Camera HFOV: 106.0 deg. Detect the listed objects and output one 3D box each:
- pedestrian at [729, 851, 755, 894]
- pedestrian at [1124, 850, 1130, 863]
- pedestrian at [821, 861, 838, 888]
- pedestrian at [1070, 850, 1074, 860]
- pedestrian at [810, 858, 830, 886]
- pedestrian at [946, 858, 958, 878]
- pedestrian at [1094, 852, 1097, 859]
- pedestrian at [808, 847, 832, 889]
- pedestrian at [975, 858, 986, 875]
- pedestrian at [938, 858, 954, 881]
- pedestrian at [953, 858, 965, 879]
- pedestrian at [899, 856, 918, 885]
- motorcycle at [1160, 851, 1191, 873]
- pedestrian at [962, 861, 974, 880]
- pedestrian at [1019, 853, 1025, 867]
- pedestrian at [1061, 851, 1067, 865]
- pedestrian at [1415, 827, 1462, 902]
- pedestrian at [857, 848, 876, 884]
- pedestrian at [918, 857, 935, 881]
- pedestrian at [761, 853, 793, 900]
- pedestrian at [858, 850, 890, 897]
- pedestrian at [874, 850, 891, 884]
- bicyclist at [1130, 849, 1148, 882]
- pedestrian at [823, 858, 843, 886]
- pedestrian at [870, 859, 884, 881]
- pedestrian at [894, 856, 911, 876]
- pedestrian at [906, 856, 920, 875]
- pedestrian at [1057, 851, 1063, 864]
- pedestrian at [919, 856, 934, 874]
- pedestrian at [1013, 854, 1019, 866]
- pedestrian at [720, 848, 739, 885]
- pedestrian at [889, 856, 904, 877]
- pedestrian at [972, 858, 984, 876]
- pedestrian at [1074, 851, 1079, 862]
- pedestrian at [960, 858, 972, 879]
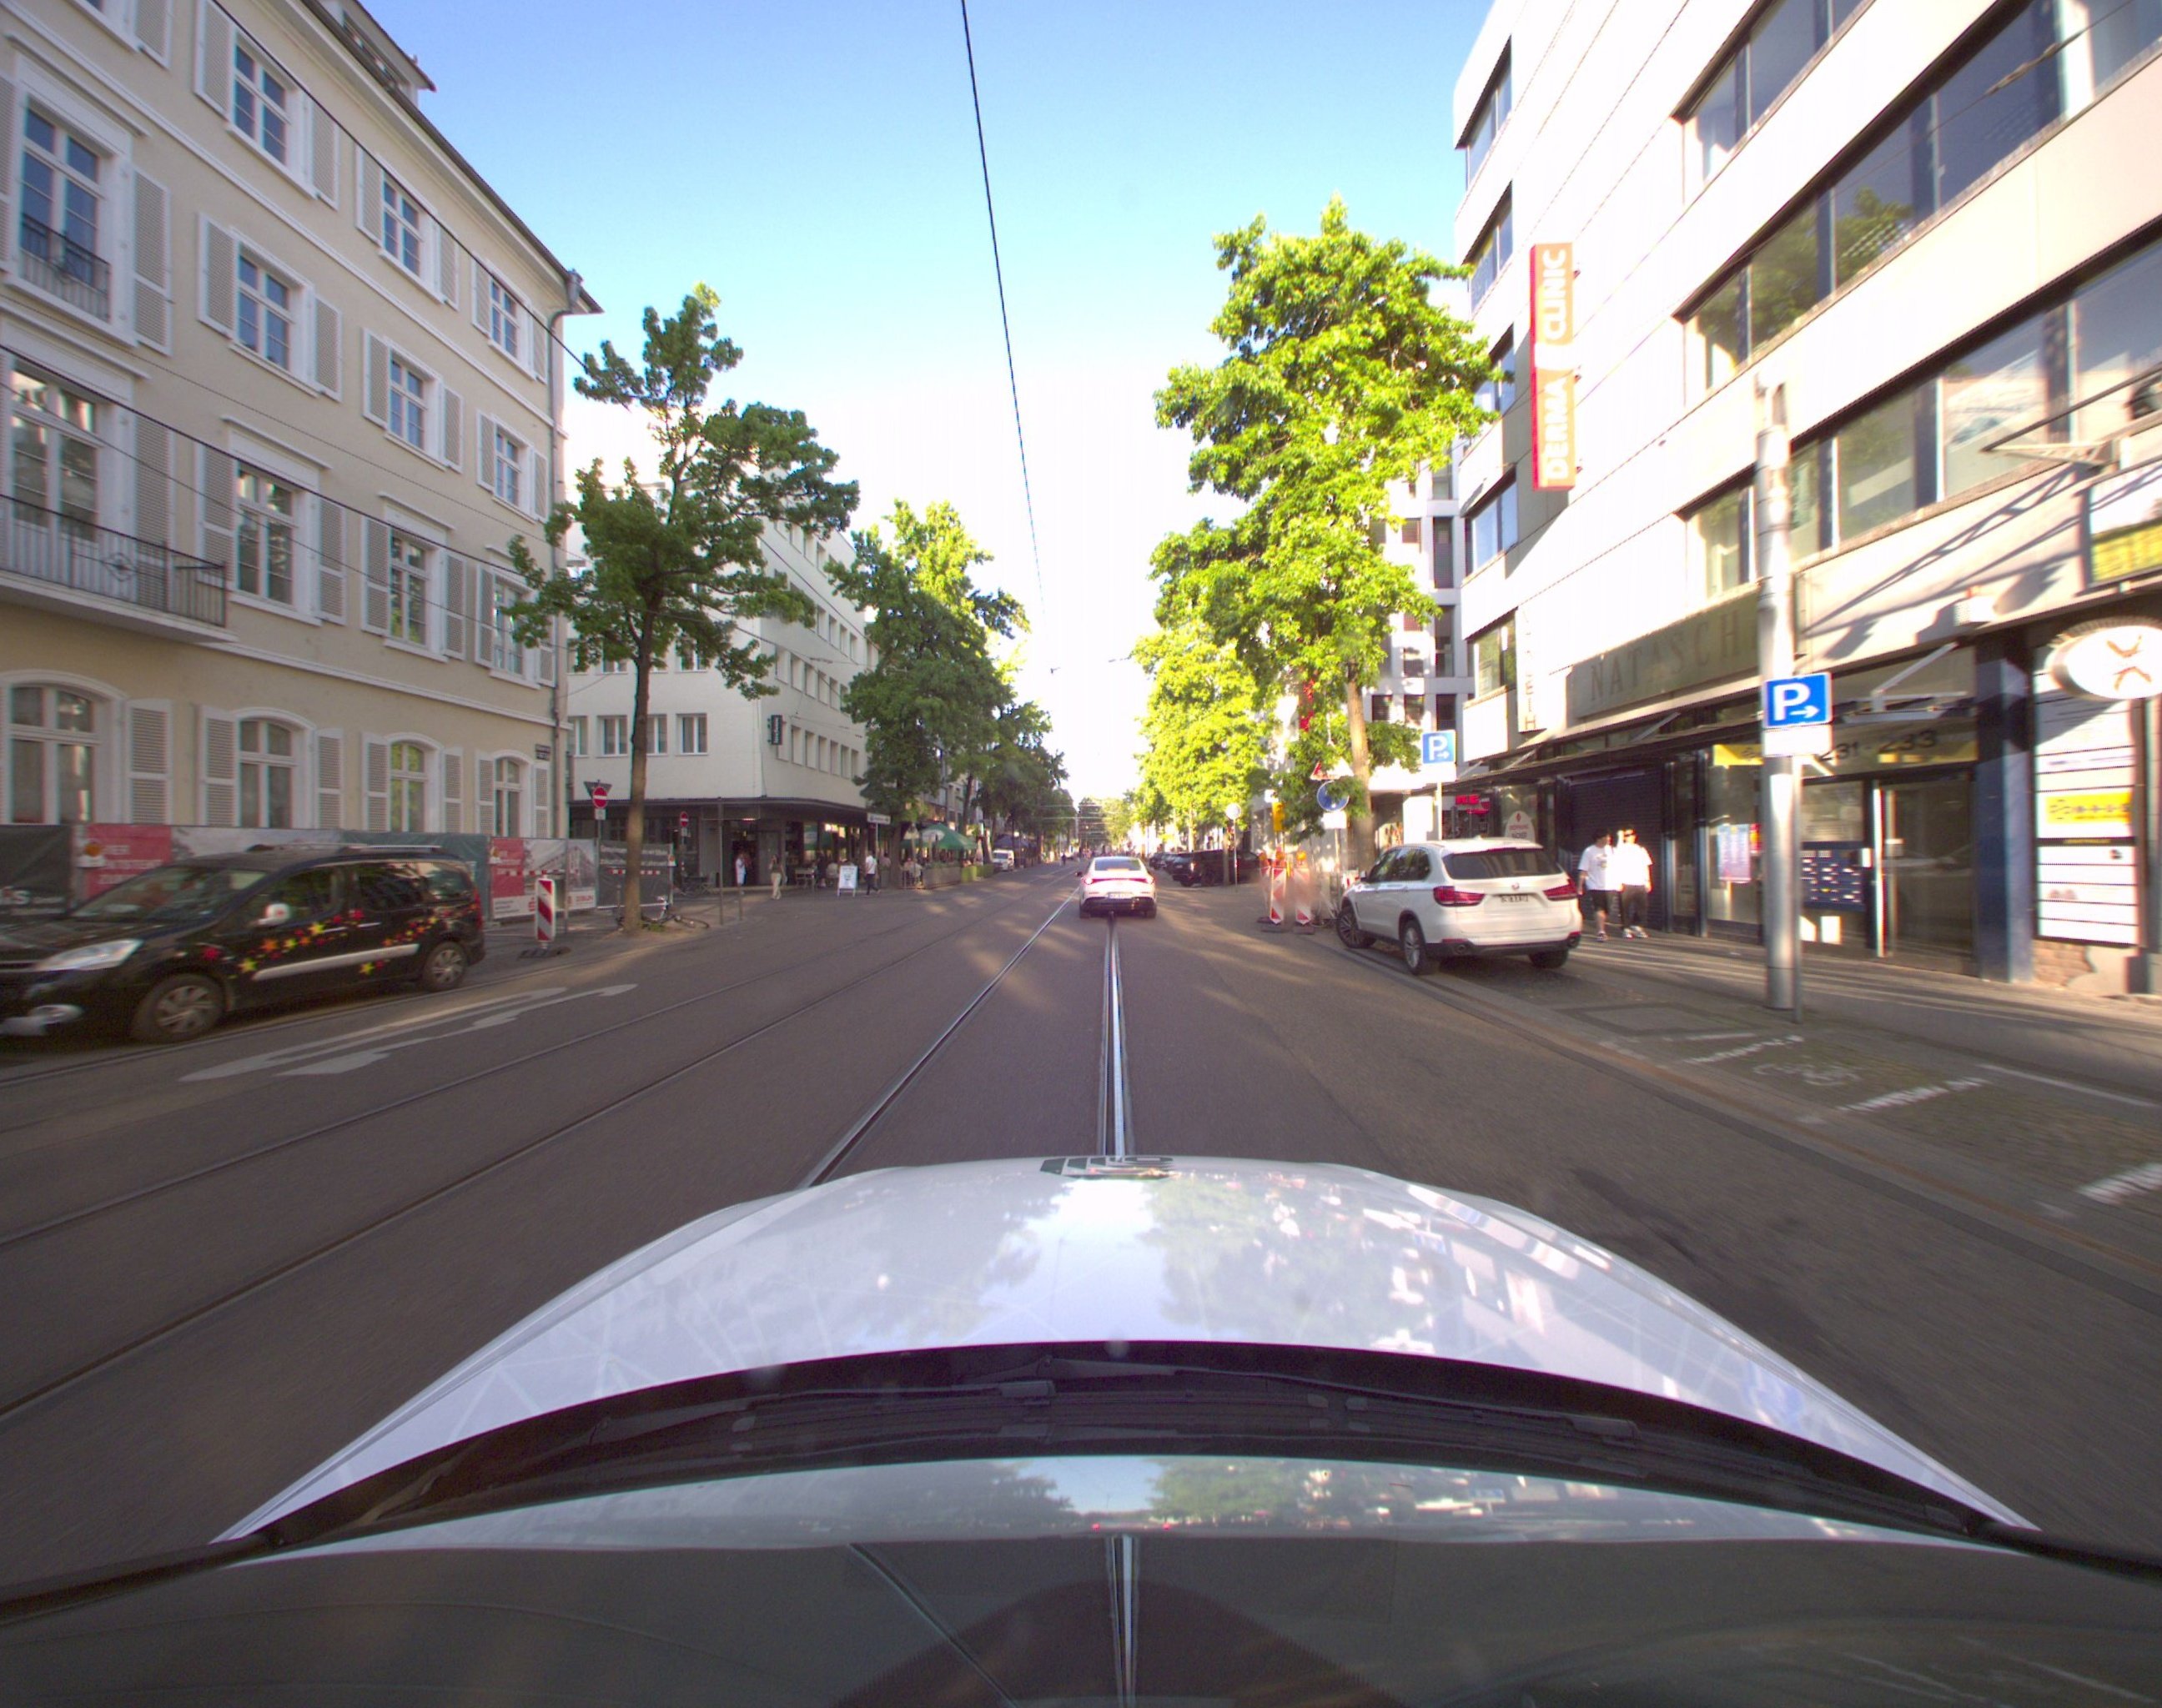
[{"bbox_3d":[-13.378,0.723,32.143,0.797,1.614,0.862,0,2,-15],"label":"pedestrian"},{"bbox_3d":[6.597,0.352,117.309,0.838,1.801,0.791,1,0,3],"label":"pedestrian"},{"bbox_3d":[-11.912,0.979,38.634,0.550,1.235,0.687,1,0,2],"label":"pedestrian"},{"bbox_3d":[-1.787,0.187,160.466,0.536,1.929,0.574,-1,0,5],"label":"pedestrian"},{"bbox_3d":[-12.152,0.825,37.865,0.642,1.269,0.739,1,0,2],"label":"pedestrian"},{"bbox_3d":[-8.038,0.872,50.705,0.616,1.245,0.697,2,0,1],"label":"pedestrian"},{"bbox_3d":[3.823,0.327,216.092,0.797,1.782,0.849,1,0,1],"label":"pedestrian"},{"bbox_3d":[-11.491,0.592,35.865,0.679,1.815,0.767,1,0,17],"label":"pedestrian"},{"bbox_3d":[-7.115,0.887,57.798,0.654,1.193,0.798,2,0,1],"label":"pedestrian"},{"bbox_3d":[-7.744,0.891,46.750,0.705,1.259,0.773,1,0,4],"label":"pedestrian"},{"bbox_3d":[-7.480,0.910,49.931,0.616,1.245,0.697,2,0,1],"label":"pedestrian"},{"bbox_3d":[-8.263,0.792,39.027,0.686,1.386,0.807,1,0,3],"label":"pedestrian"},{"bbox_3d":[7.111,0.576,61.264,2.332,1.509,0.849,-3,-1,-42],"label":"motorcycle"},{"bbox_3d":[-7.881,1.131,56.857,0.654,1.293,0.798,2,0,1],"label":"pedestrian"},{"bbox_3d":[-6.047,0.617,83.974,0.547,1.356,0.583,0,0,1],"label":"pedestrian"},{"bbox_3d":[-1.972,0.464,96.835,0.620,1.550,0.853,1,0,2],"label":"pedestrian"},{"bbox_3d":[9.443,0.270,21.535,0.830,1.897,0.919,-2,0,4],"label":"pedestrian"},{"bbox_3d":[-10.743,0.607,40.796,0.675,1.757,0.697,1,0,3],"label":"pedestrian"},{"bbox_3d":[-8.455,0.825,44.637,0.686,1.312,0.807,1,0,3],"label":"pedestrian"},{"bbox_3d":[-11.092,0.795,29.739,0.704,1.656,0.968,-1,1,3],"label":"pedestrian"},{"bbox_3d":[-7.818,0.733,30.756,0.789,1.740,0.870,-1,1,17],"label":"pedestrian"},{"bbox_3d":[-10.005,0.653,41.099,0.616,1.670,0.697,1,0,1],"label":"pedestrian"},{"bbox_3d":[2.884,0.558,40.408,0.772,1.613,0.915,1,0,11],"label":"bicyclist"},{"bbox_3d":[-11.497,0.834,37.772,0.624,1.282,0.728,1,0,2],"label":"pedestrian"},{"bbox_3d":[-11.251,0.871,44.922,0.550,1.161,0.687,1,0,2],"label":"pedestrian"},{"bbox_3d":[-11.306,0.759,51.559,0.774,1.237,0.945,2,0,1],"label":"pedestrian"},{"bbox_3d":[-11.138,0.779,53.962,0.734,1.214,0.788,2,0,1],"label":"pedestrian"},{"bbox_3d":[-2.433,0.422,95.773,0.620,1.509,0.834,1,0,2],"label":"pedestrian"},{"bbox_3d":[-10.905,0.782,57.474,0.750,1.188,1.065,2,0,1],"label":"pedestrian"},{"bbox_3d":[-6.821,0.646,85.357,0.493,1.228,0.535,0,0,1],"label":"pedestrian"},{"bbox_3d":[-15.582,0.550,36.123,0.399,1.604,0.625,-1,0,35],"label":"pedestrian"},{"bbox_3d":[-11.408,0.772,50.370,0.734,1.231,0.788,2,0,1],"label":"pedestrian"},{"bbox_3d":[-7.216,0.883,56.854,0.654,1.244,0.873,2,0,1],"label":"pedestrian"},{"bbox_3d":[-0.752,0.436,133.610,0.784,1.801,0.845,-1,0,3],"label":"pedestrian"},{"bbox_3d":[-7.185,0.892,50.810,0.616,1.245,0.697,2,0,1],"label":"pedestrian"}]
